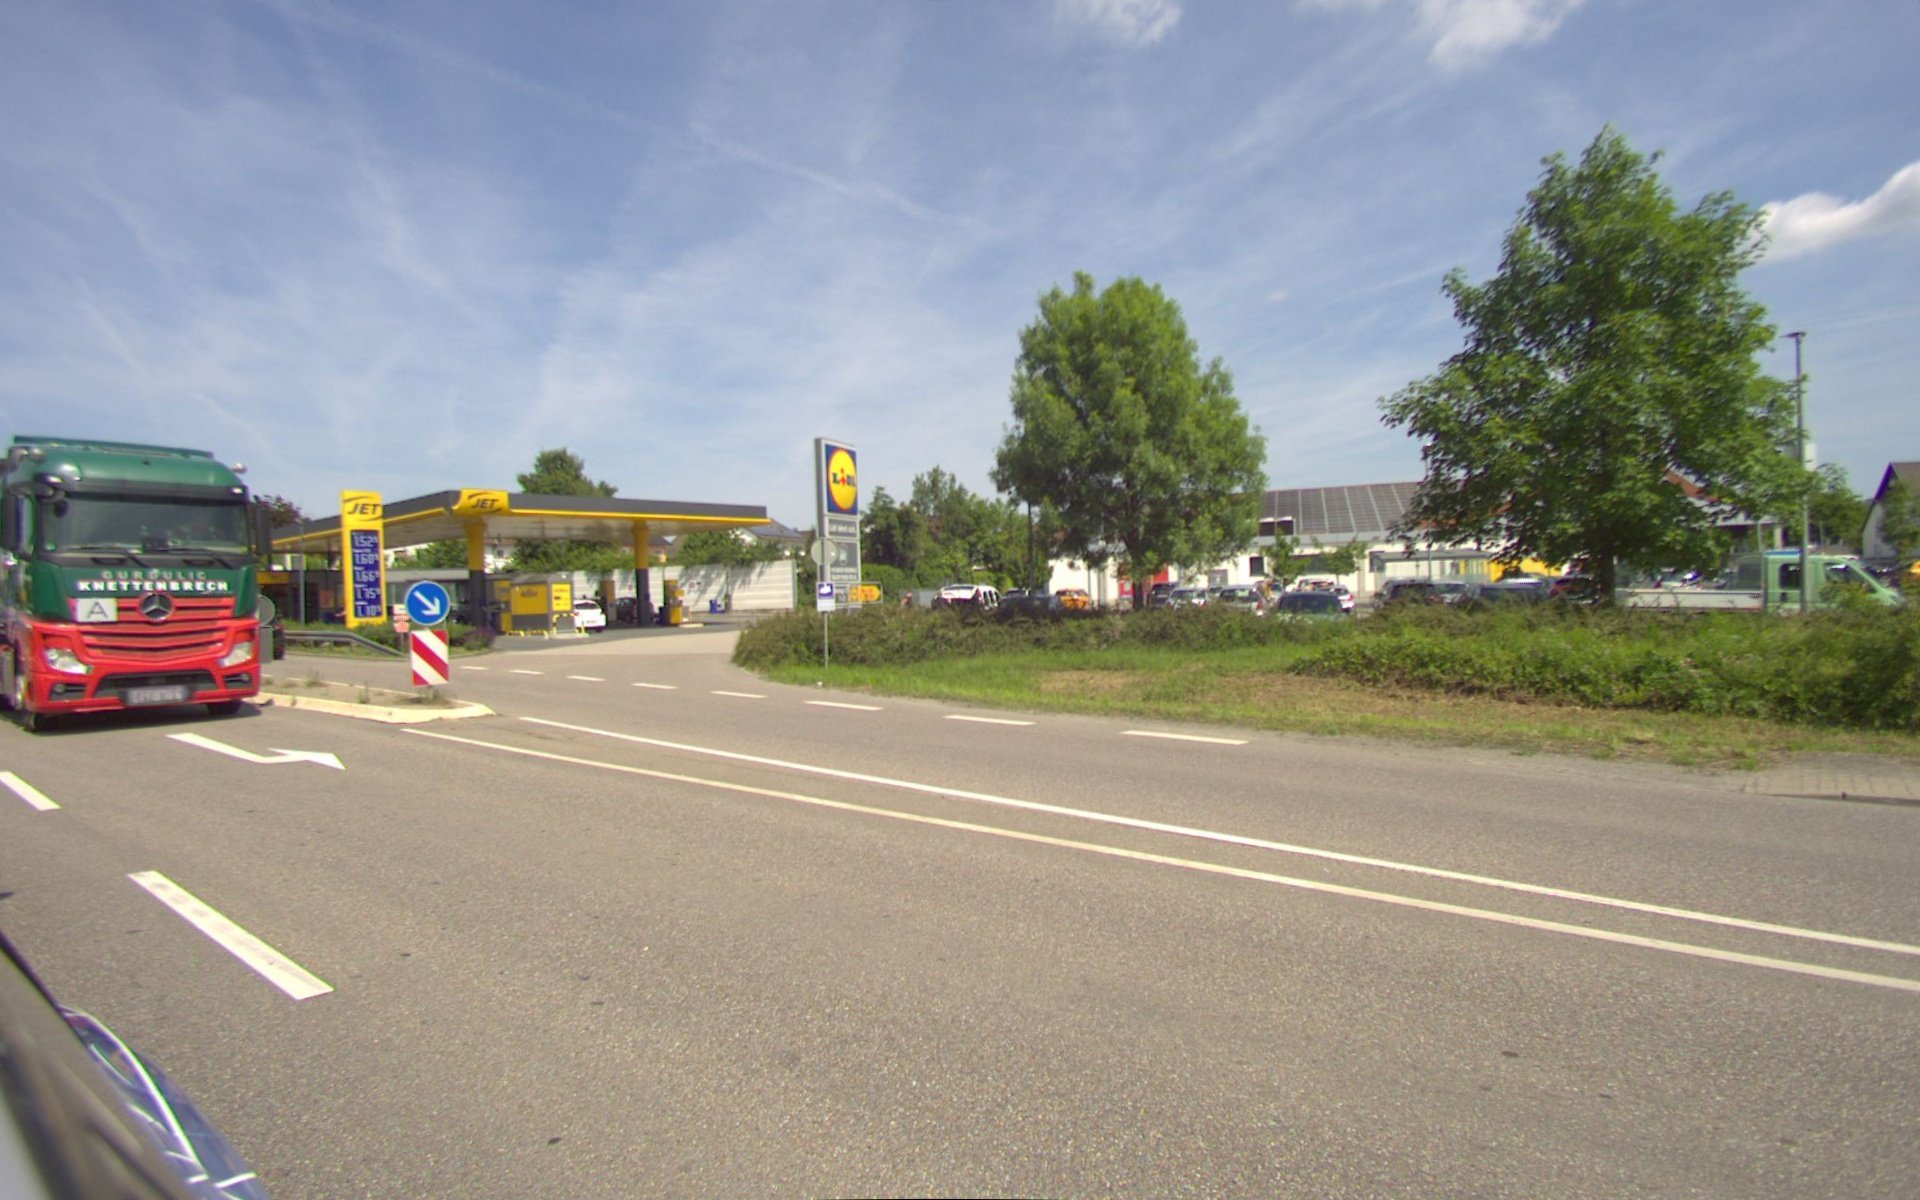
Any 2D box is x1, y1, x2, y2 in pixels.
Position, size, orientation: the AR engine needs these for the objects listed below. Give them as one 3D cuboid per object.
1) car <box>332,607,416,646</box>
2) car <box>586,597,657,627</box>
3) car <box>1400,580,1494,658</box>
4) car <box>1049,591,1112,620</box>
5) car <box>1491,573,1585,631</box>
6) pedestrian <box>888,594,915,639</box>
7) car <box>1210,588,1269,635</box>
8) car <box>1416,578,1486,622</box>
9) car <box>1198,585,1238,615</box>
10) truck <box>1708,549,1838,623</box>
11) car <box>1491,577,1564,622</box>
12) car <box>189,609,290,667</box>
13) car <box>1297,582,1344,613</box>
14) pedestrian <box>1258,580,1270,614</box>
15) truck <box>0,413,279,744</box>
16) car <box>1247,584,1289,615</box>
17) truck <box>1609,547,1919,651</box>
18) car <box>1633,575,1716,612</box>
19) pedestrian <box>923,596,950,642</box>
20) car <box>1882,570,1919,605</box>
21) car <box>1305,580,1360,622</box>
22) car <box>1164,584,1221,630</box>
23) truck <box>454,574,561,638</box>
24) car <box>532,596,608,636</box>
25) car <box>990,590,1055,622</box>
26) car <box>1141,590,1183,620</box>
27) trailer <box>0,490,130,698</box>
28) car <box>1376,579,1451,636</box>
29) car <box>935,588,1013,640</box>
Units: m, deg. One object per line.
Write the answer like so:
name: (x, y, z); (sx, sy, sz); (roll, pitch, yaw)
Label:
car: (-27.727, 1.255, 47.814); (4.258, 1.719, 1.975); (-2, -1, 38)
car: (-19.327, 0.683, 57.752); (3.862, 1.625, 1.735); (-1, -1, 31)
car: (11.419, 0.403, 23.931); (1.683, 1.670, 3.971); (0, 0, 22)
car: (6.510, 0.286, 54.300); (1.879, 1.453, 3.958); (-1, 1, 31)
car: (18.208, 0.058, 32.043); (1.912, 1.701, 3.973); (0, 0, 20)
pedestrian: (-2.089, 0.577, 36.239); (0.692, 1.587, 0.812); (0, -1, -27)
car: (9.880, 0.368, 35.585); (1.769, 1.513, 4.122); (-1, 1, 18)
car: (18.327, -0.005, 37.919); (1.764, 1.540, 3.977); (0, 0, 17)
car: (13.309, -0.021, 52.218); (1.868, 1.453, 3.981); (-1, 1, 15)
truck: (27.870, -0.455, 34.876); (1.981, 2.383, 3.982); (0, 0, 14)
car: (20.583, -0.023, 36.845); (1.767, 1.540, 3.972); (0, 0, 21)
car: (-23.686, 1.220, 33.220); (4.109, 1.763, 1.847); (-2, 0, 42)
car: (17.952, -0.162, 50.554); (1.868, 1.453, 3.981); (-1, 1, 15)
pedestrian: (14.325, -0.136, 47.707); (0.501, 1.564, 0.515); (-1, 0, 15)
truck: (-14.181, -0.195, 16.330); (10.042, 3.950, 2.641); (-1, 0, 40)
car: (15.547, -0.047, 51.250); (1.868, 1.453, 3.981); (-1, 1, 15)
truck: (20.341, 0.027, 25.479); (6.301, 2.393, 2.234); (-1, -1, 20)
car: (31.497, -0.272, 44.749); (1.865, 1.553, 4.231); (0, 0, 20)
pedestrian: (-0.817, 0.662, 35.804); (0.801, 1.587, 0.701); (-1, 0, 13)
car: (45.120, -0.591, 46.077); (4.223, 1.553, 1.869); (0, 0, 18)
car: (14.270, 0.029, 38.923); (1.764, 1.540, 3.977); (0, 0, 17)
car: (9.335, 0.240, 40.468); (1.850, 1.688, 4.399); (-1, 0, 17)
truck: (-22.111, 0.266, 49.301); (6.278, 2.944, 2.222); (0, 0, 40)
car: (-17.769, 0.782, 46.062); (4.001, 1.741, 1.713); (-2, -3, 44)
car: (3.419, 0.310, 54.490); (1.765, 1.551, 3.956); (-2, 0, 33)
car: (10.464, 0.235, 52.277); (1.868, 1.453, 3.981); (-1, 1, 15)
trailer: (-21.205, -0.050, 22.448); (8.663, 3.950, 2.773); (-1, 0, 40)
car: (14.662, 0.212, 32.925); (1.898, 1.687, 3.974); (-1, 1, 20)
car: (0.589, 0.487, 38.708); (1.865, 1.825, 4.145); (-1, 0, 17)
